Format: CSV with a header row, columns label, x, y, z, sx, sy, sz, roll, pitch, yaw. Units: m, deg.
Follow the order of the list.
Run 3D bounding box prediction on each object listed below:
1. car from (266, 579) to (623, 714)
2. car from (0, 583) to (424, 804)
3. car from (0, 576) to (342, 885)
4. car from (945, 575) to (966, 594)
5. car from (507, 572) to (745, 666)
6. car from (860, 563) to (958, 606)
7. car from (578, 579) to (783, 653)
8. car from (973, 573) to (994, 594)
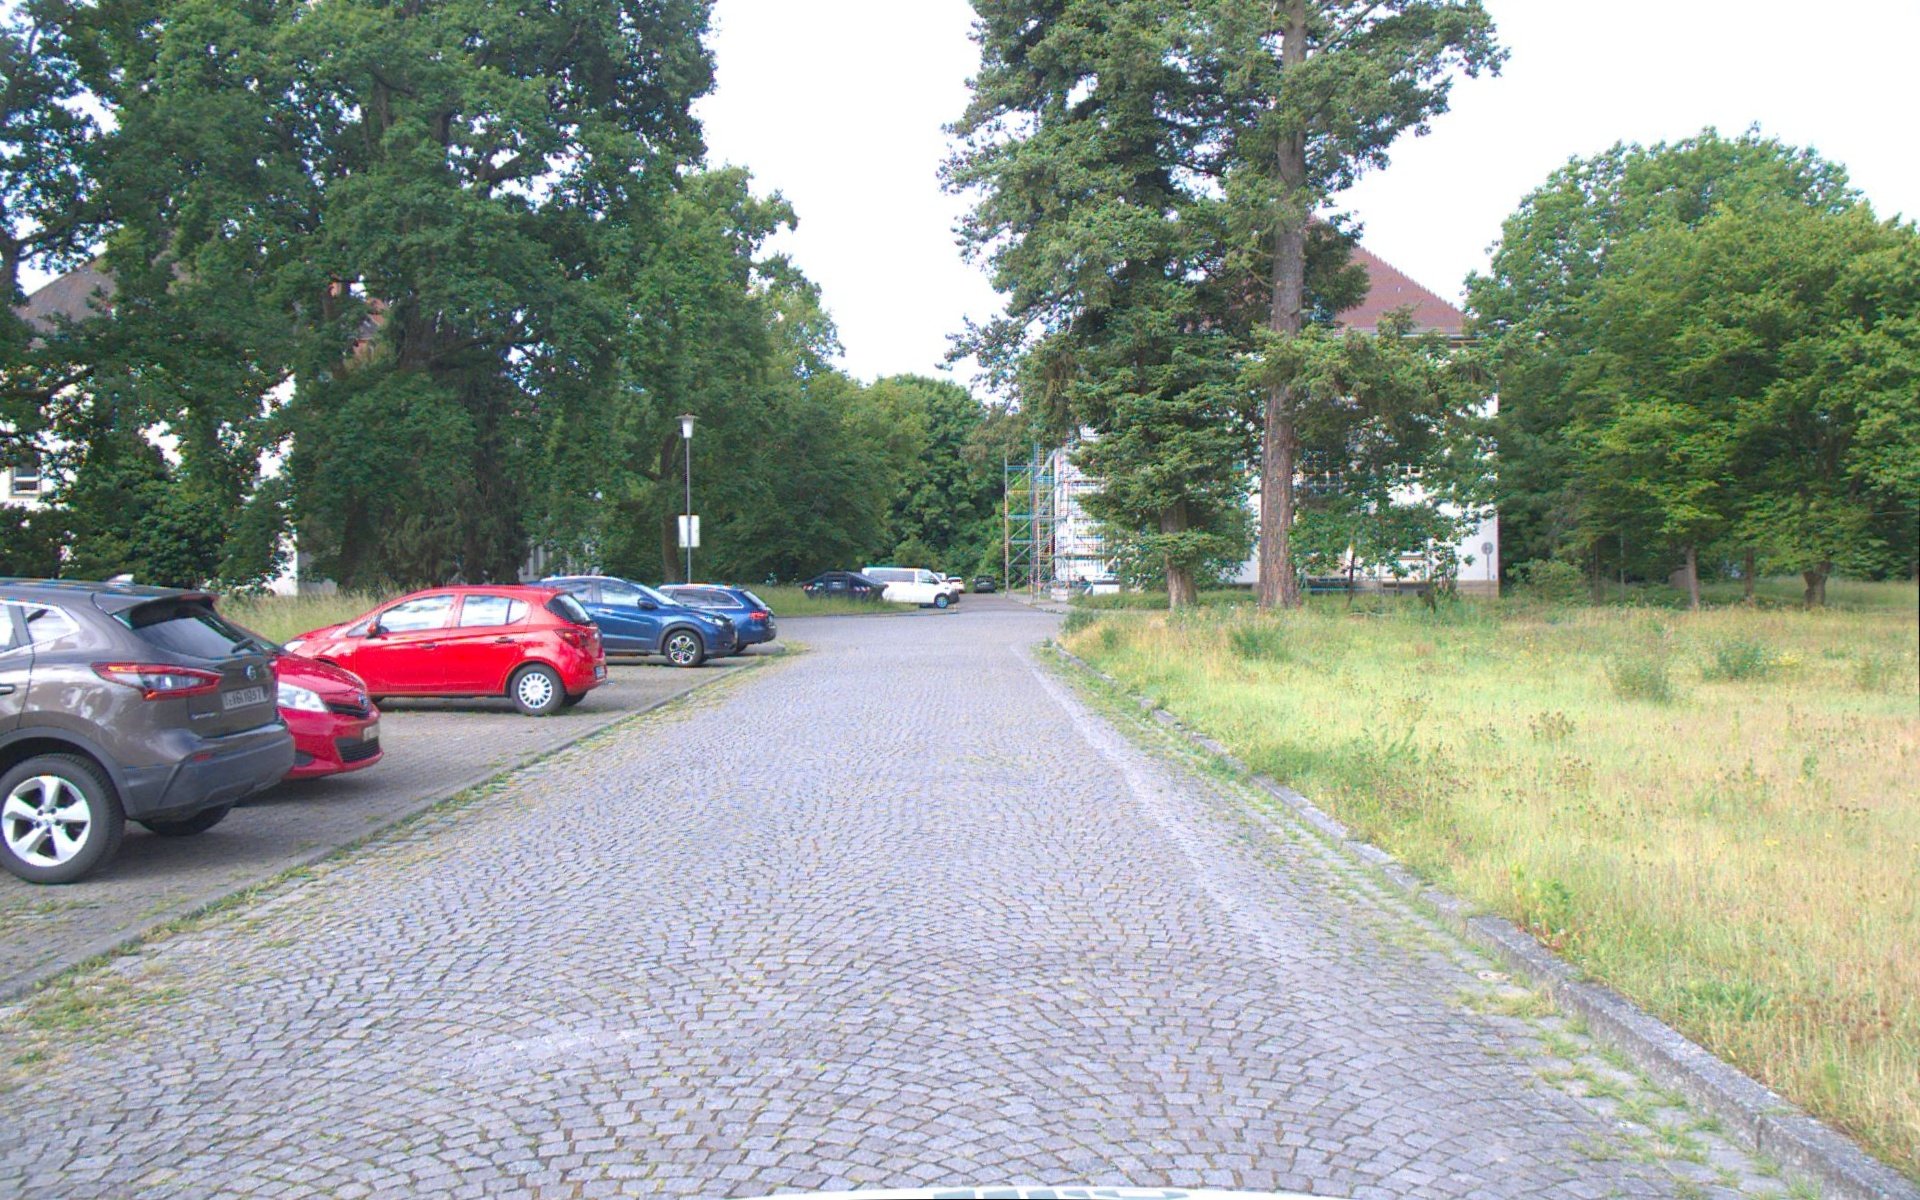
label,x,y,z,sx,sy,sz,roll,pitch,yaw
car,-6.100,0.518,19.905,3.738,1.515,1.787,0,1,-2
car,-6.173,0.643,12.377,3.738,1.512,1.761,0,1,-1
car,-5.950,0.678,9.593,3.986,1.602,1.954,0,1,-2
car,-0.436,-1.398,149.925,1.754,1.665,4.059,-1,-1,-2
car,-6.011,0.316,30.156,3.989,1.632,1.787,0,1,-2
car,-2.572,-0.774,83.859,4.877,2.109,2.051,0,-1,-2
car,-5.846,0.316,34.854,3.986,1.492,1.626,0,1,3
car,2.132,-1.481,150.274,1.754,1.750,4.059,-1,-1,-2
